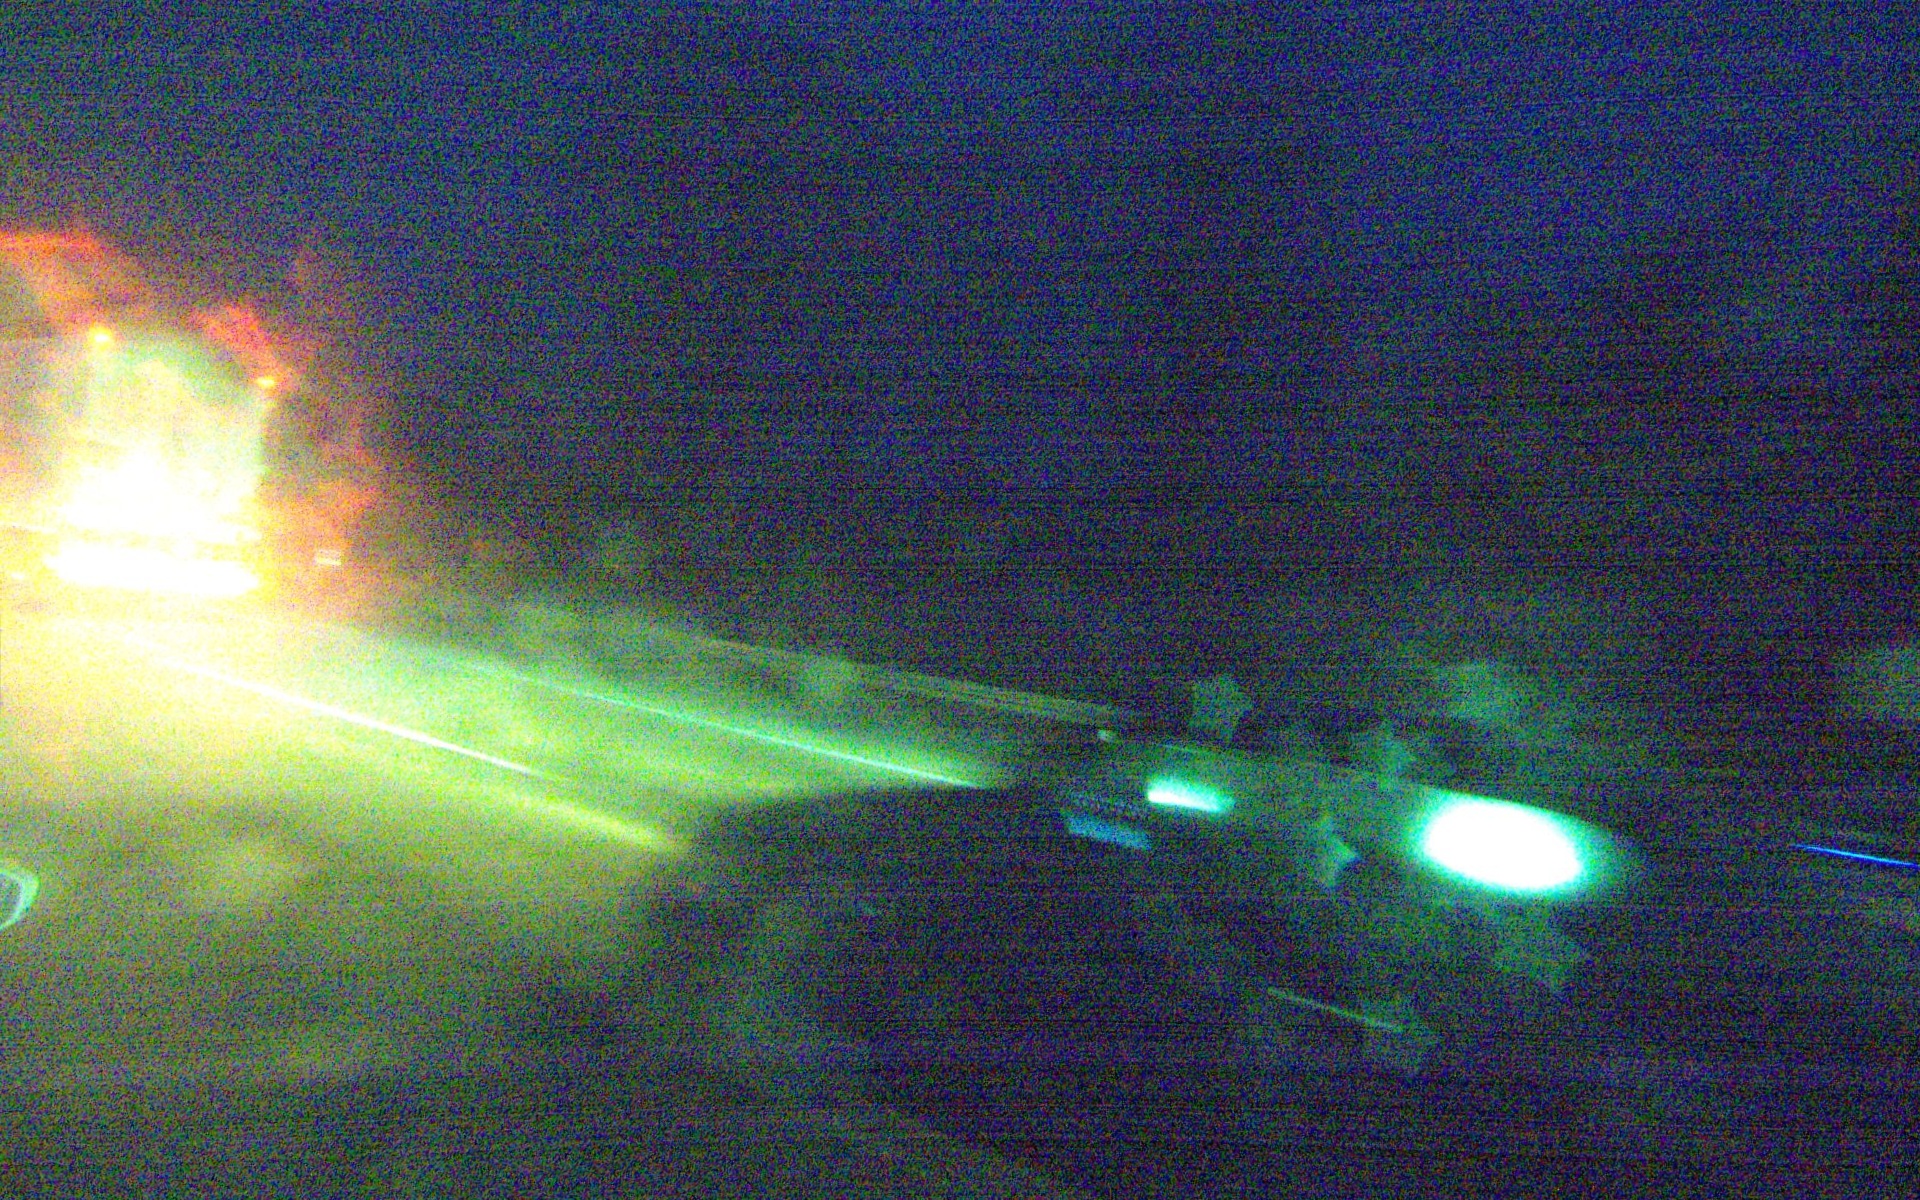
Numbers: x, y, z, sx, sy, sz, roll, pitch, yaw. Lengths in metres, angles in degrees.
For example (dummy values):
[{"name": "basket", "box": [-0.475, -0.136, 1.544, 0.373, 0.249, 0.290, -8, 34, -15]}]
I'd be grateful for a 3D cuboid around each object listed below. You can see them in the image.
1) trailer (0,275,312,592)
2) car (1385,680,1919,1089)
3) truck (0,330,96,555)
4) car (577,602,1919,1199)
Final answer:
[{"name": "trailer", "box": [-16.821, -2.968, 18.655, 11.895, 4.261, 2.809, 7, -1, 31]}, {"name": "car", "box": [5.017, 1.550, 5.198, 4.878, 1.503, 1.898, 7, -2, 30]}, {"name": "truck", "box": [-22.523, -3.605, 22.169, 7.324, 4.317, 2.809, 7, -1, 31]}, {"name": "car", "box": [0.824, 0.970, 3.056, 3.728, 1.429, 1.616, 6, -2, 30]}]
